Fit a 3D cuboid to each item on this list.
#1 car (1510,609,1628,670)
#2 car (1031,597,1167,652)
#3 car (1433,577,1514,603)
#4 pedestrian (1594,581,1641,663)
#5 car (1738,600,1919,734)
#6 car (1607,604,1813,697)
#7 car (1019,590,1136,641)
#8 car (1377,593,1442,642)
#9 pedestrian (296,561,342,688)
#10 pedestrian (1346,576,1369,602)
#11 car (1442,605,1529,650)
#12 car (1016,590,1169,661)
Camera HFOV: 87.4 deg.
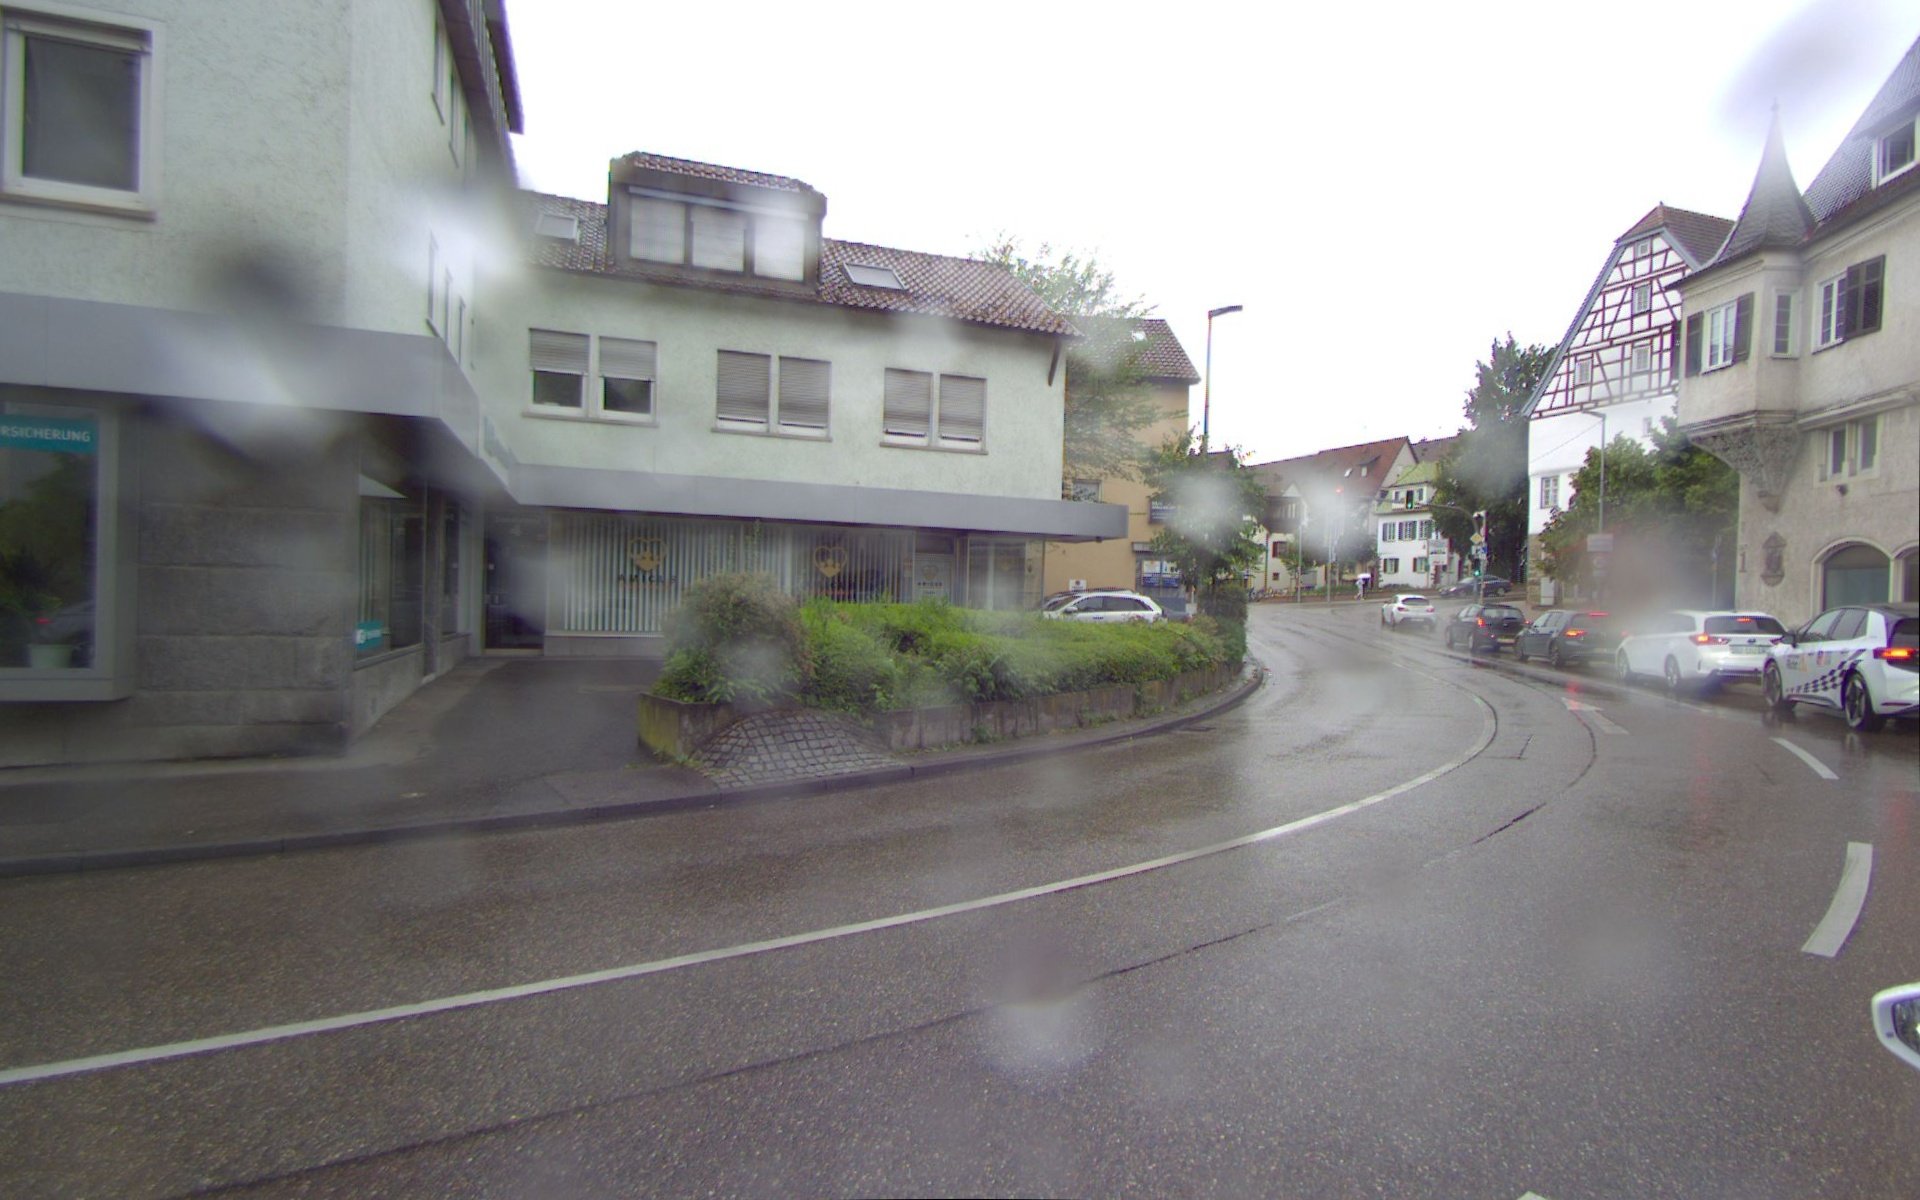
[{"bbox_3d":[15.655,0.974,25.998,1.493,1.380,3.769,0,1,13],"label":"car"},{"bbox_3d":[3.872,0.676,28.262,3.472,1.475,1.710,0,1,-8],"label":"car"},{"bbox_3d":[33.140,-0.620,64.828,4.446,1.409,1.648,1,7,-8],"label":"car"},{"bbox_3d":[19.472,0.646,29.767,0.851,2.357,1.231,1,0,18],"label":"pedestrian"},{"bbox_3d":[12.147,0.788,13.359,1.760,1.537,4.239,0,-1,22],"label":"car"},{"bbox_3d":[13.929,0.852,18.967,1.755,1.485,4.165,0,1,16],"label":"car"},{"bbox_3d":[3.802,0.489,32.713,3.472,1.597,1.710,0,1,-8],"label":"car"},{"bbox_3d":[20.229,0.749,45.332,1.940,2.118,3.962,0,1,13],"label":"car"},{"bbox_3d":[-7.903,0.294,12.392,0.419,1.528,0.356,0,1,-22],"label":"pedestrian"},{"bbox_3d":[27.151,-0.727,68.586,1.128,1.765,1.004,1,0,-5],"label":"pedestrian"},{"bbox_3d":[17.025,0.864,32.694,1.634,1.330,3.625,0,1,13],"label":"car"},{"bbox_3d":[3.287,0.625,25.211,3.472,1.708,1.710,0,1,-8],"label":"car"}]
